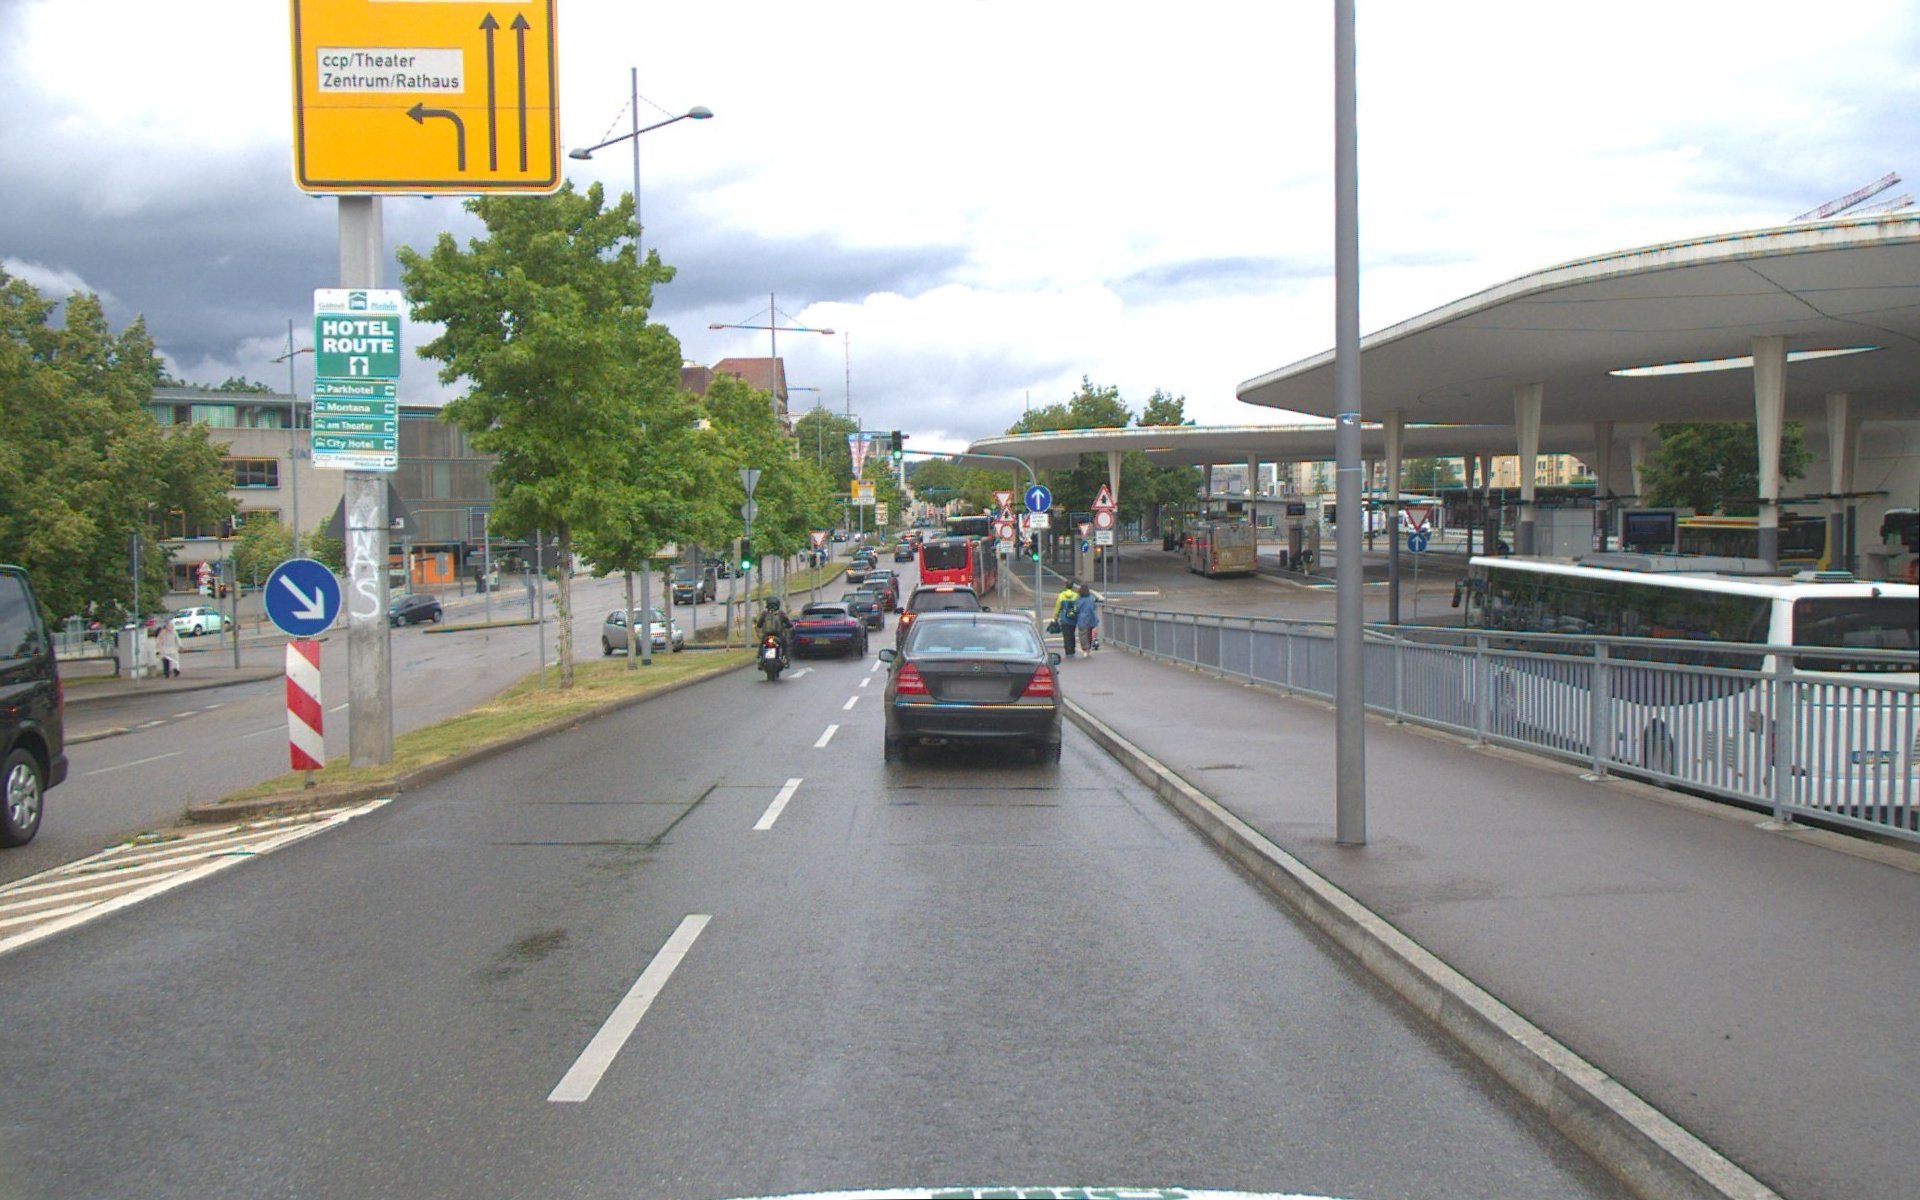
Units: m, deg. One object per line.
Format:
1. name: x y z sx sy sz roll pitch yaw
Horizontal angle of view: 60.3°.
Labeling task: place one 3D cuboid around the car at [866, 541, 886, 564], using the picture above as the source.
1. car: -7.389 -4.189 145.998 1.608 1.836 3.639 1 0 -1

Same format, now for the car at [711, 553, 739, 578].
1. car: -19.122 -2.828 134.737 1.871 1.690 4.856 -2 4 -4

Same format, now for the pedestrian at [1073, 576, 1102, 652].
1. pedestrian: 2.856 0.319 37.078 0.577 1.700 0.580 1 -2 -2

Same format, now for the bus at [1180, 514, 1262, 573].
1. bus: 15.374 -3.452 98.493 2.666 3.095 12.091 -3 3 -1

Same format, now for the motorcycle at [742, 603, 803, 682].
1. motorcycle: -3.523 0.787 31.306 0.776 1.283 1.856 -4 3 3

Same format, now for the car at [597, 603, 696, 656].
1. car: -9.897 0.900 52.066 1.619 1.473 3.829 -5 2 -34

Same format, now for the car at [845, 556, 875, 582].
1. car: -6.775 -2.101 112.093 1.828 1.713 3.999 1 0 -1

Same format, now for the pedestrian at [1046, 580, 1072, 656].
1. pedestrian: 2.222 0.398 37.127 0.512 1.699 0.580 -1 0 -2

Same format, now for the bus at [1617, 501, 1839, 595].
1. bus: 30.263 -2.236 66.034 2.733 3.313 12.140 -2 3 -2

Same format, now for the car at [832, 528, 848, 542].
1. car: -15.964 -8.642 220.258 1.744 1.593 3.430 -4 3 -1

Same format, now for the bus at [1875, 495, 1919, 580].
1. bus: 39.947 -2.332 63.867 2.416 3.312 11.974 -3 4 -1

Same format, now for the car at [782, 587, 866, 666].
1. car: -3.516 0.640 43.453 1.779 1.597 4.405 -4 3 -1

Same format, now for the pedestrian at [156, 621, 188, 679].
1. pedestrian: -22.896 1.447 48.066 0.641 1.597 0.628 -4 0 -17

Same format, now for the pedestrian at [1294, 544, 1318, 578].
1. pedestrian: 18.013 -2.041 86.146 0.709 1.712 1.013 -5 3 -26

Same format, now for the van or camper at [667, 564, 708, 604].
1. van or camper: -15.730 -0.896 95.613 2.176 2.108 5.272 -4 0 -9

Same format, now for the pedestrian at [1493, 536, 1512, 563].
1. pedestrian: 32.274 -3.006 98.450 0.779 1.613 0.907 -1 2 -7

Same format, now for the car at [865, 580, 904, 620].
1. car: -3.531 -0.027 78.014 1.544 1.530 3.872 -4 3 0

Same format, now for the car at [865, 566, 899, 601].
1. car: -4.178 -0.919 88.979 1.544 1.593 3.872 -4 3 -1

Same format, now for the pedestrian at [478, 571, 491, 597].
1. pedestrian: -32.247 -1.080 112.105 0.464 1.712 0.764 -3 3 6

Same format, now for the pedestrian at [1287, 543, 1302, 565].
1. pedestrian: 19.827 -2.750 98.002 0.776 1.247 0.634 -2 3 16

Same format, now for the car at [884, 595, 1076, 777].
1. car: 0.133 0.748 16.643 1.663 1.487 4.303 -1 1 -1

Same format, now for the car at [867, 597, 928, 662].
1. car: -1.920 0.873 51.708 1.706 1.593 3.872 -4 3 -1

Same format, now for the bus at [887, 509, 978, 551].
1. bus: -3.033 -7.394 174.973 2.821 4.056 11.693 -5 3 -39

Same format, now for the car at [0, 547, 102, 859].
1. car: -7.013 0.681 9.723 1.809 2.002 4.680 -2 0 -5

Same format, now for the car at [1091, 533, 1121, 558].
1. car: 10.859 -4.068 123.187 1.677 1.690 4.240 -1 3 -2

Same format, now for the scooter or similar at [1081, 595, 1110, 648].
1. scooter or similar: 3.293 0.514 40.322 0.454 1.242 1.859 -2 0 -1

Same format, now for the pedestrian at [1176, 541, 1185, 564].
1. pedestrian: 16.618 -3.604 124.688 0.549 1.721 0.613 -2 3 -8

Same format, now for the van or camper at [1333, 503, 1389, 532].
1. van or camper: 36.481 -7.504 150.571 4.515 2.602 2.118 1 1 -2

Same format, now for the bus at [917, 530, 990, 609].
1. bus: -0.311 -1.640 82.429 3.219 3.348 10.881 -3 3 0

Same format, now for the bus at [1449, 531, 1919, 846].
1. bus: 11.164 0.835 26.223 2.787 3.419 12.429 1 4 -1

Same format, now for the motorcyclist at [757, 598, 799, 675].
1. motorcyclist: -3.461 0.684 31.469 0.628 1.370 0.689 -3 3 2

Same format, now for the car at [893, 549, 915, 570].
1. car: -4.906 -3.563 145.366 1.828 1.713 3.999 1 0 -1

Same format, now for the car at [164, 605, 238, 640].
1. car: -40.562 1.197 88.452 1.593 1.521 3.587 -2 3 14

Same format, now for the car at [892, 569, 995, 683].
1. car: -0.358 0.472 35.103 1.918 1.907 4.874 -4 3 -1

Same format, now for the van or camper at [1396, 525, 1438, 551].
1. van or camper: 39.873 -5.412 144.452 1.953 2.139 5.479 1 1 -1

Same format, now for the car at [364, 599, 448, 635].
1. car: -28.551 0.868 85.325 3.638 1.463 1.805 -7 5 -38

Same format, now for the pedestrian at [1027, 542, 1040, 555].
1. pedestrian: 5.957 -4.135 133.859 0.894 1.002 0.634 -1 -1 13

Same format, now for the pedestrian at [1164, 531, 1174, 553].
1. pedestrian: 17.024 -4.743 134.486 0.569 1.746 0.559 1 -1 34

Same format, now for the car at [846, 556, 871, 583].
1. car: -7.996 -2.405 131.073 1.761 1.940 3.639 1 0 -1

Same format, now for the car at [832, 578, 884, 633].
1. car: -3.736 0.173 61.184 1.642 1.650 3.872 -4 3 -1
